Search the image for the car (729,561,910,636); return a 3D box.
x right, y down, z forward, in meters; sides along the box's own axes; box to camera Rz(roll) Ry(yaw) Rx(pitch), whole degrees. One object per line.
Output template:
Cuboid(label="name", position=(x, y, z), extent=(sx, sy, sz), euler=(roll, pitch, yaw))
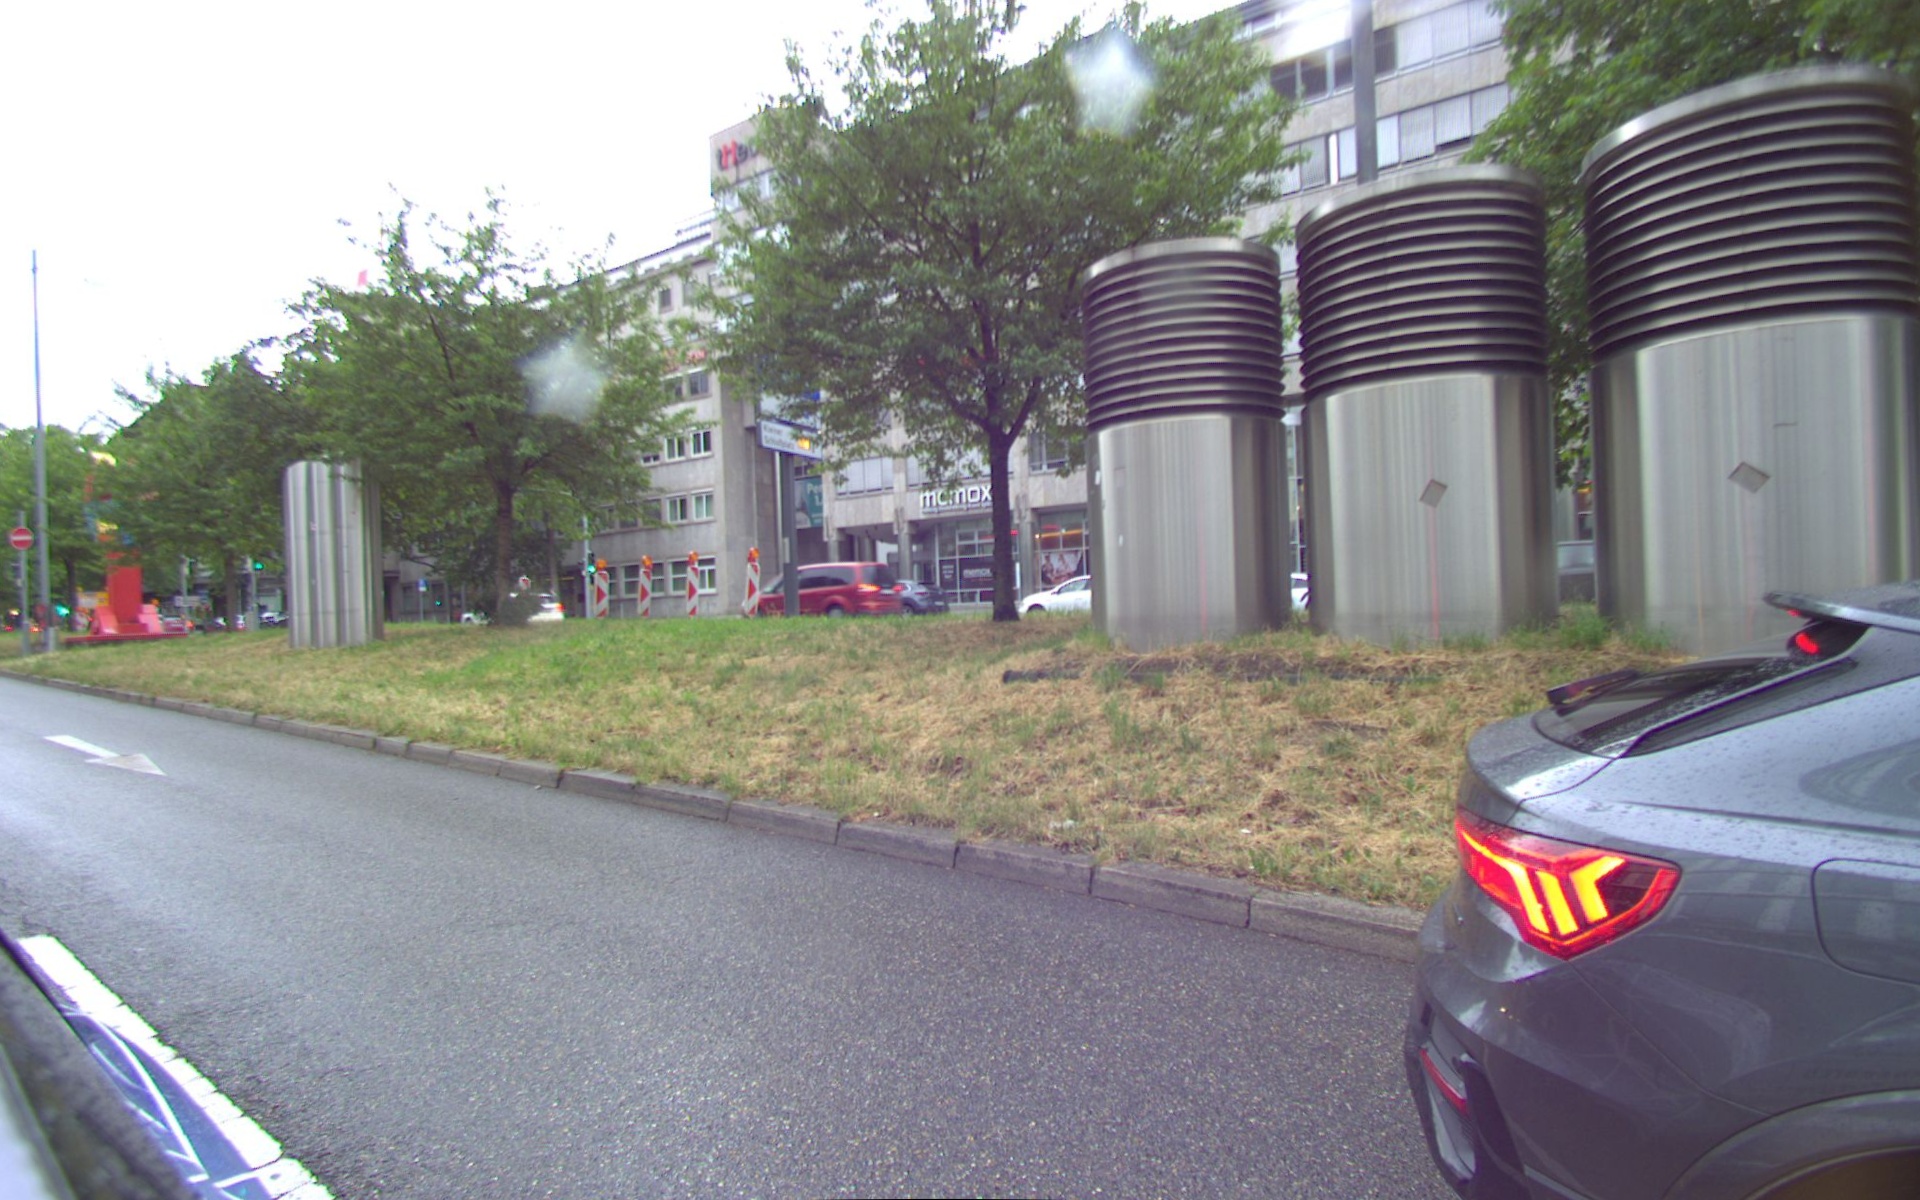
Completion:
Cuboid(label="car", position=(-3.644, -0.005, 25.904), extent=(4.568, 1.740, 1.711), euler=(-2, 0, 33))

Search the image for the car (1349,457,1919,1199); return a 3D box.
Cuboid(label="car", position=(2.859, 0.574, 0.981), extent=(4.247, 1.628, 1.830), euler=(-2, 0, 39))

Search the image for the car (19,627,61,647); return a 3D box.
Cuboid(label="car", position=(-72.685, 2.921, 79.954), extent=(4.127, 1.440, 1.843), euler=(-2, -1, 39))

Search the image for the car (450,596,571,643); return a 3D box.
Cuboid(label="car", position=(-15.608, 0.681, 35.080), extent=(4.180, 1.486, 1.805), euler=(-2, 0, 33))

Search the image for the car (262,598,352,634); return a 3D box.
Cuboid(label="car", position=(-29.101, 0.717, 45.094), extent=(3.987, 1.486, 1.853), euler=(-2, 0, 33))

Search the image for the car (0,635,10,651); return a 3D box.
Cuboid(label="car", position=(-92.146, 4.129, 96.426), extent=(4.561, 1.440, 1.843), euler=(-2, -1, 40))

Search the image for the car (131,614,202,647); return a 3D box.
Cuboid(label="car", position=(-44.732, 1.726, 57.025), extent=(3.987, 1.713, 1.930), euler=(-2, 0, 33))

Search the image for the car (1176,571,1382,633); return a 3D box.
Cuboid(label="car", position=(8.059, 0.089, 25.796), extent=(4.677, 1.412, 1.759), euler=(-2, -1, 38))

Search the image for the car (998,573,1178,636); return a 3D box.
Cuboid(label="car", position=(3.610, 0.164, 29.154), extent=(4.905, 1.634, 1.759), euler=(-2, -1, 38))

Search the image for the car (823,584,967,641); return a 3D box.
Cuboid(label="car", position=(-2.223, 0.445, 33.964), extent=(4.785, 1.739, 1.844), euler=(-2, -1, 38))

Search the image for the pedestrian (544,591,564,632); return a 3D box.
Cuboid(label="pedestrian", position=(-18.201, 0.523, 45.346), extent=(0.721, 1.801, 0.522), euler=(-2, 0, 42))

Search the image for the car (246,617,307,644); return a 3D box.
Cuboid(label="car", position=(-42.888, 1.924, 63.480), extent=(4.461, 1.634, 1.844), euler=(-2, -1, 38))

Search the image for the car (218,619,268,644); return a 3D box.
Cuboid(label="car", position=(-46.997, 2.056, 66.336), extent=(3.687, 1.514, 1.670), euler=(-2, -1, 38))

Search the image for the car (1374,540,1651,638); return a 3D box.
Cuboid(label="car", position=(9.464, -0.171, 17.441), extent=(3.990, 1.497, 1.790), euler=(-1, 2, 35))
